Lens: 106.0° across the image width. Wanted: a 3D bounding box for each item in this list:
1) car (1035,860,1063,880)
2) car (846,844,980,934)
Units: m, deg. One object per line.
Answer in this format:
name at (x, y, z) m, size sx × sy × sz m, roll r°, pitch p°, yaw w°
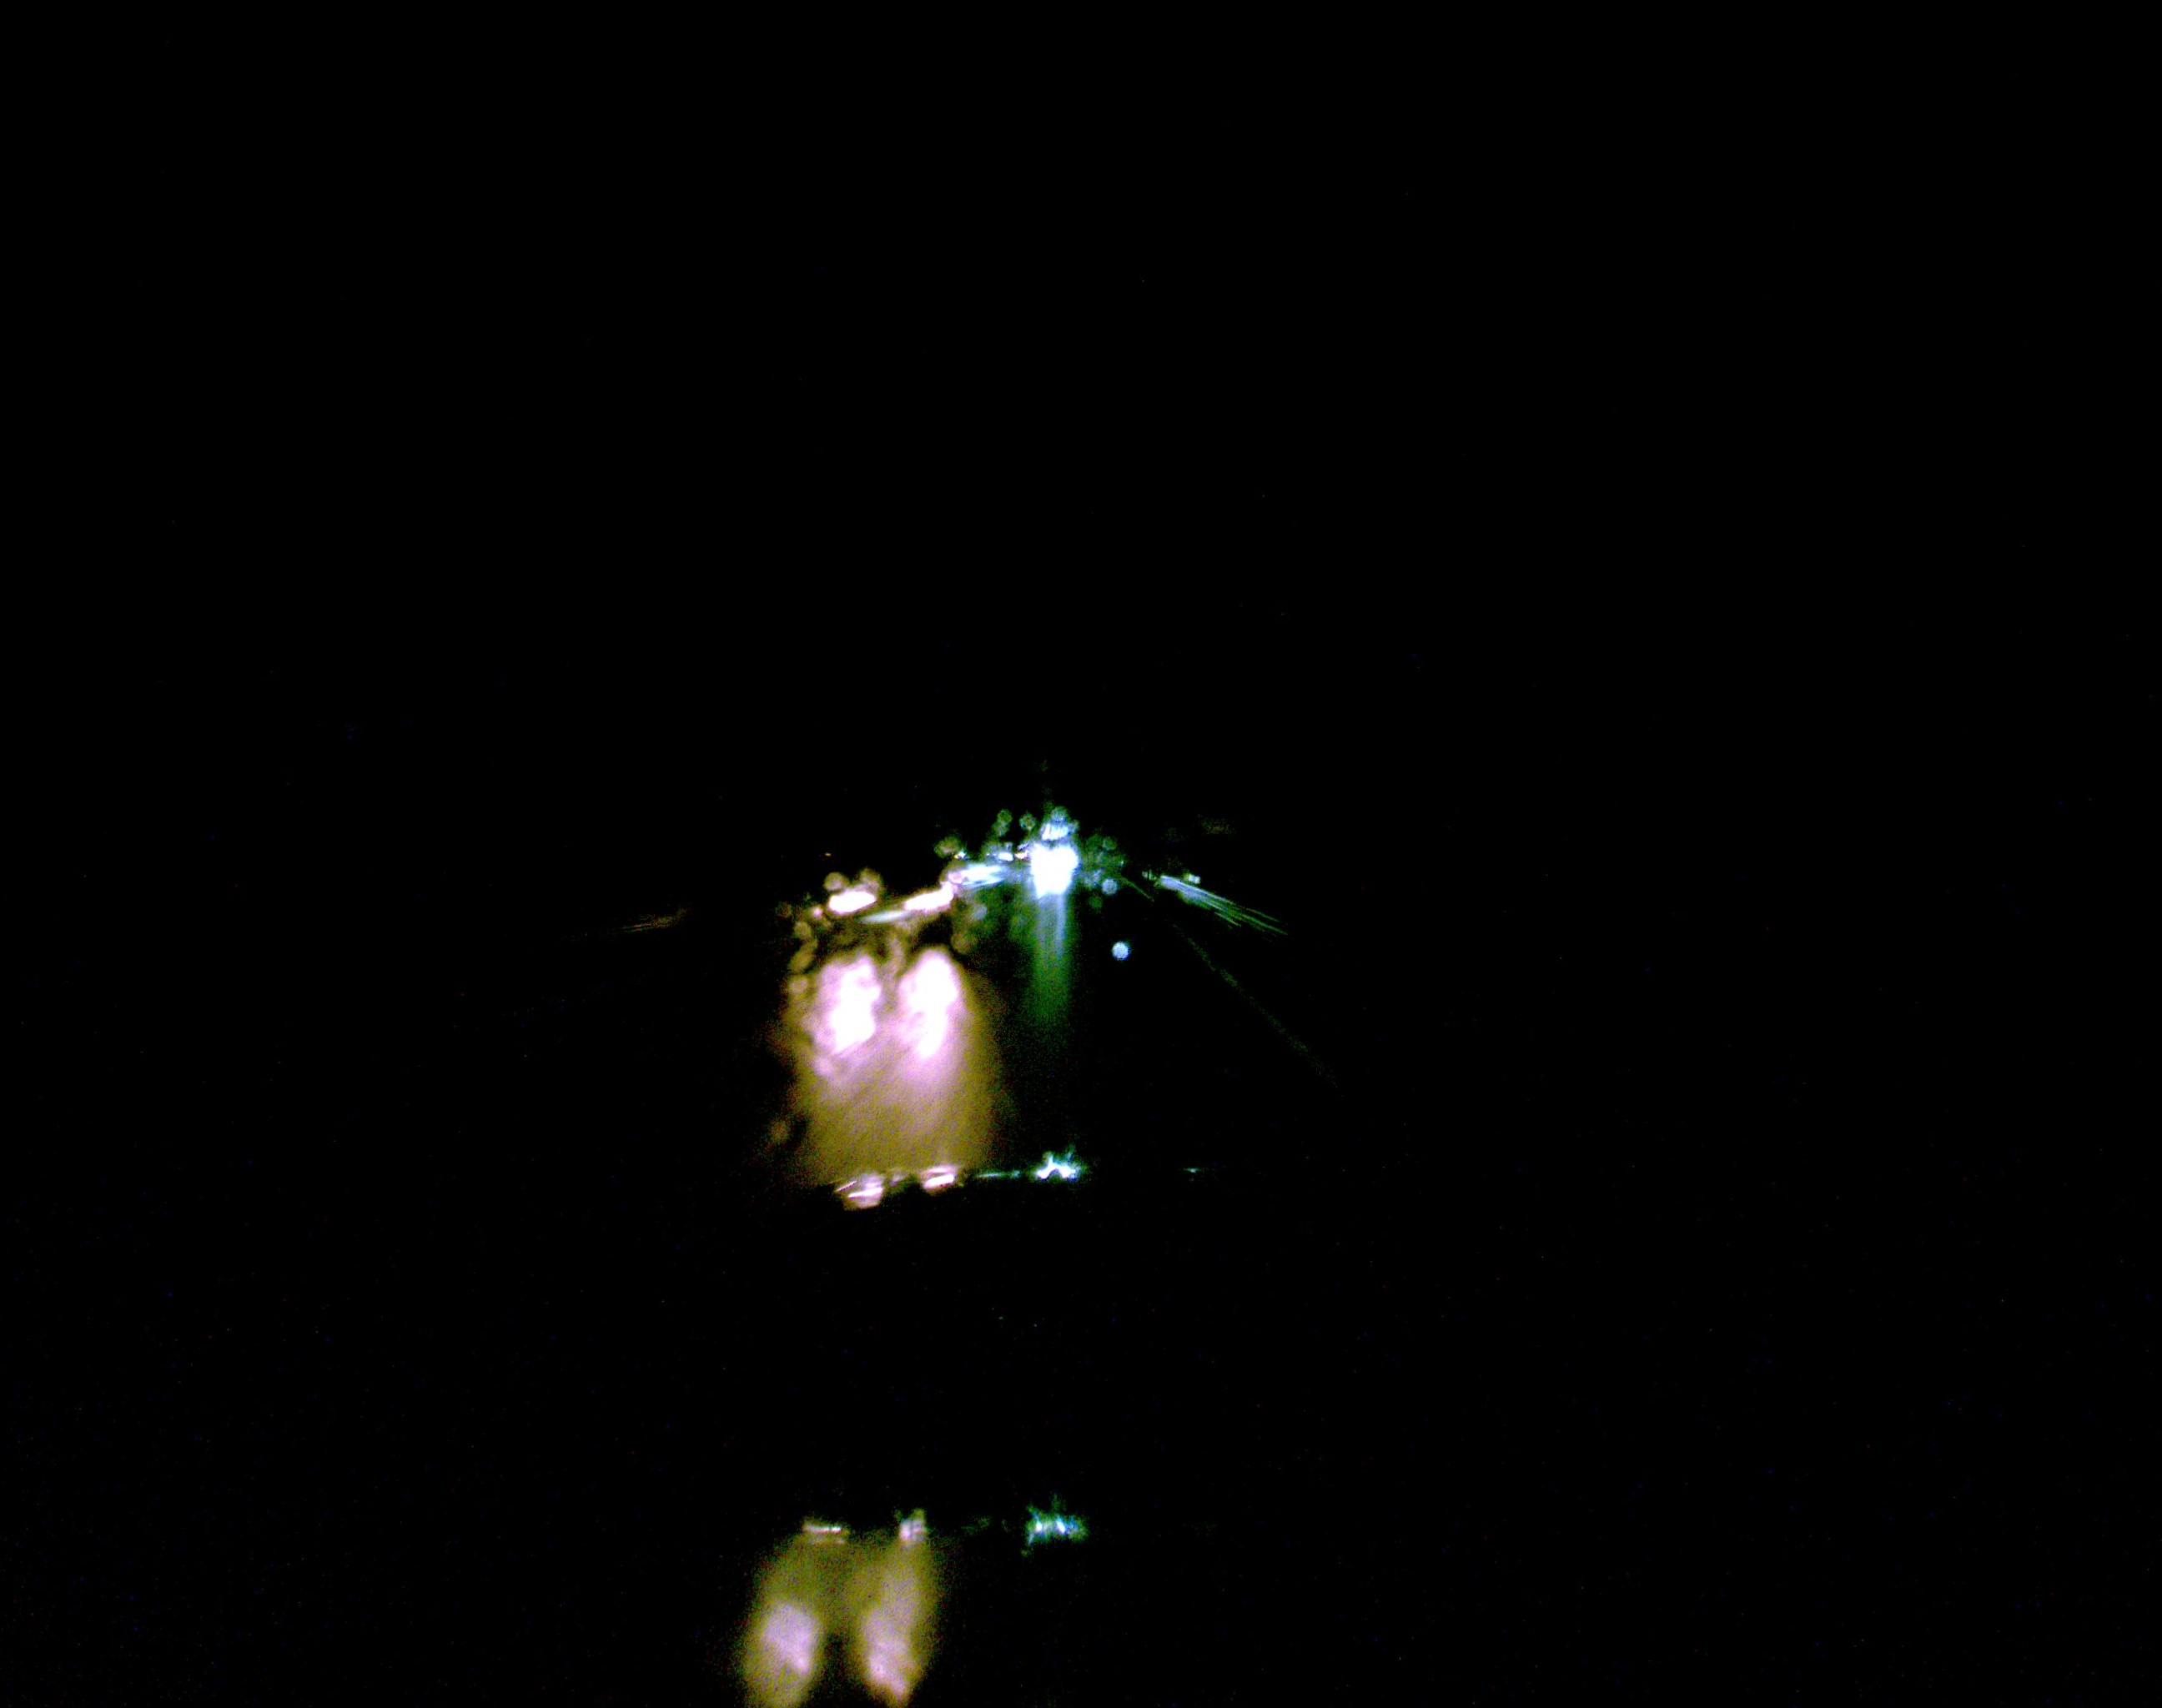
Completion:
car at (-2.420, 1.181, 61.697) m, size 1.862 × 1.448 × 4.393 m, roll 0°, pitch 0°, yaw 1°
car at (-3.275, 0.629, 16.621) m, size 1.862 × 1.612 × 3.847 m, roll 0°, pitch 0°, yaw 1°
